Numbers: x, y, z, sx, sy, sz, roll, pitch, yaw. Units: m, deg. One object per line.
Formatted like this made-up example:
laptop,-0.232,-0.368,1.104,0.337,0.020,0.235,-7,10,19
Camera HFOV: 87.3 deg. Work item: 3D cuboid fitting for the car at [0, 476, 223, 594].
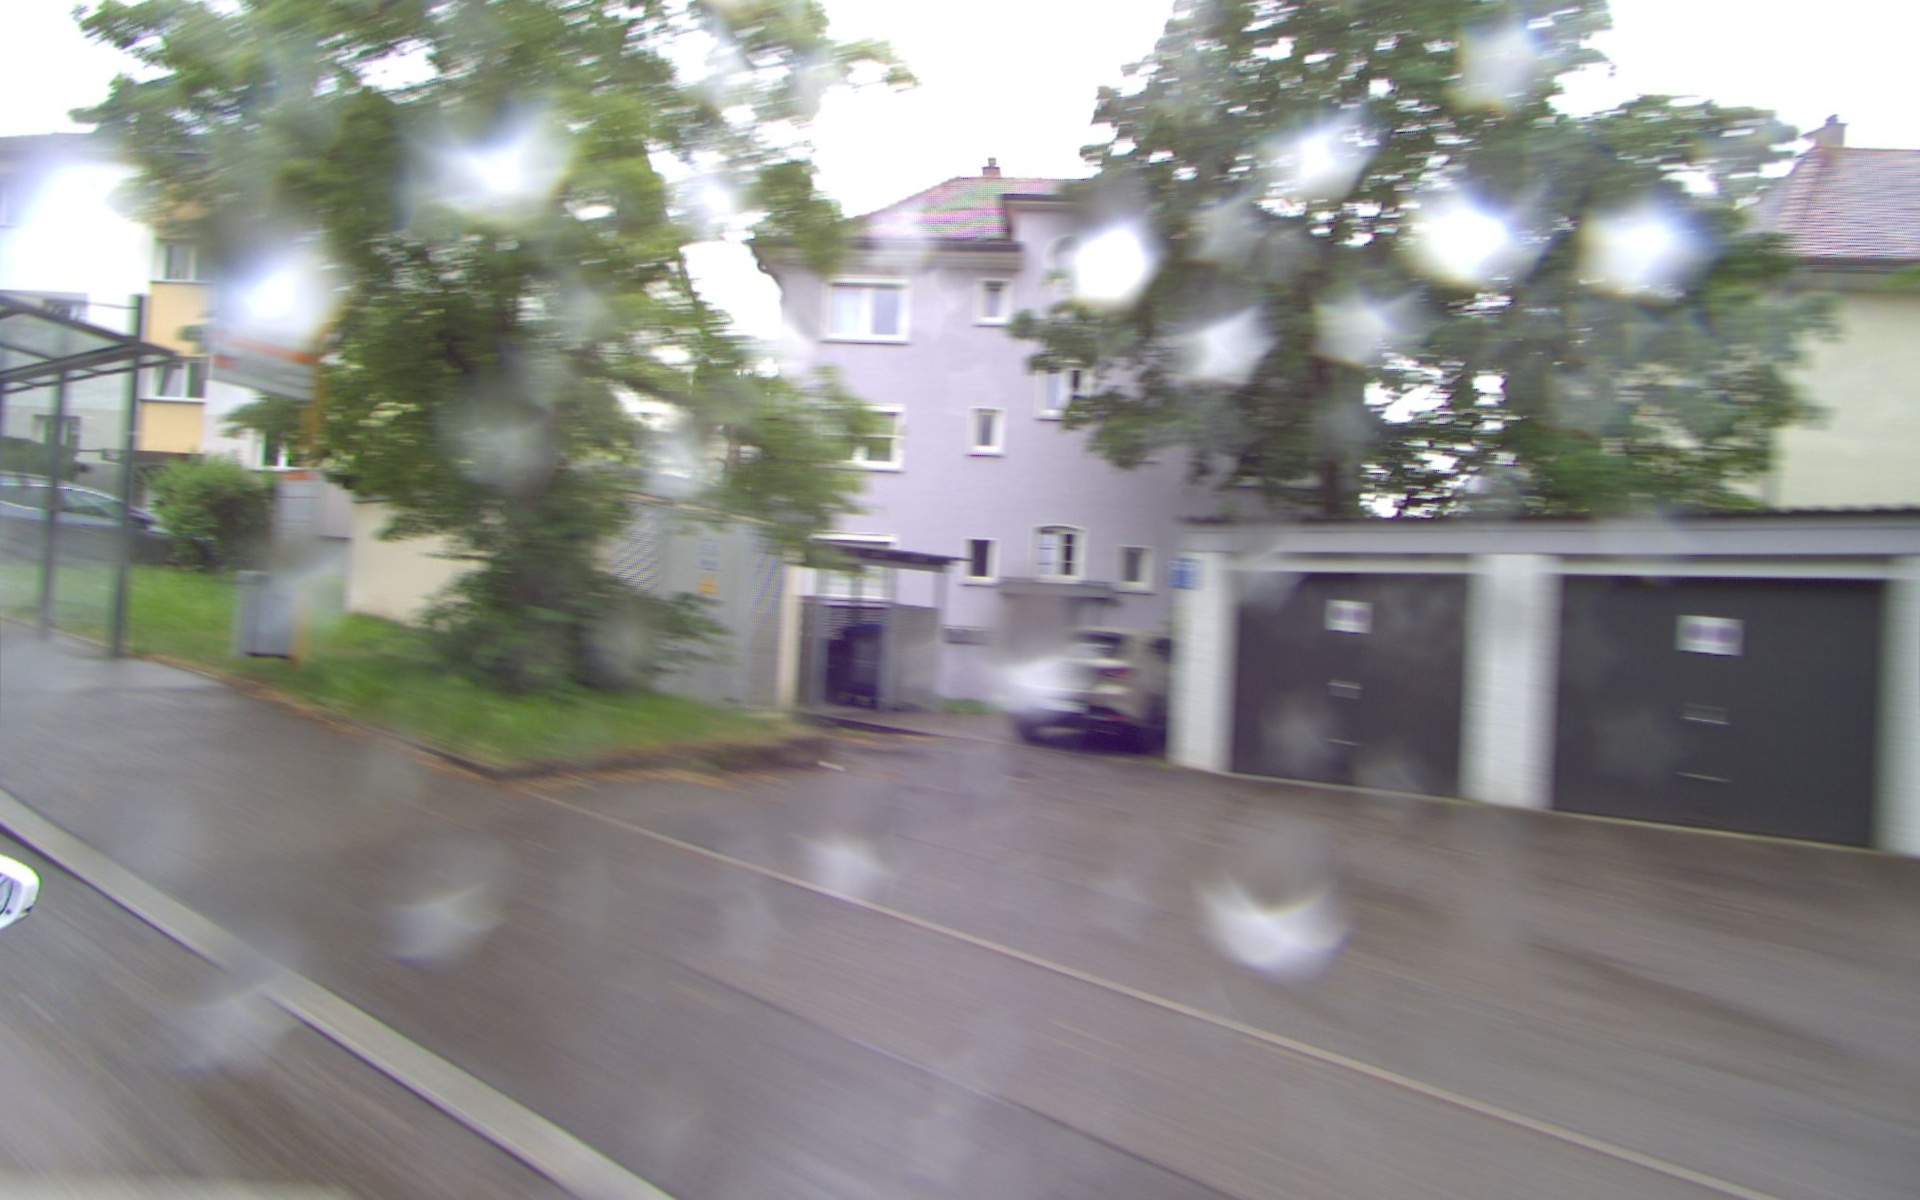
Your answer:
car,-13.690,-1.022,15.147,1.694,1.477,3.749,8,1,28

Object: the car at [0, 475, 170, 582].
car,-15.686,-1.268,16.826,1.638,1.515,3.444,8,1,29

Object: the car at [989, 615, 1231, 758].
car,2.062,1.071,12.921,1.767,1.448,3.706,3,-2,30

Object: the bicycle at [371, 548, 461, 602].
bicycle,-12.446,-0.564,23.032,1.650,1.002,0.573,8,0,5

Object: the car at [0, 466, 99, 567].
car,-18.185,-1.676,17.435,1.822,1.681,4.537,8,1,23

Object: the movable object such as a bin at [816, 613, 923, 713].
movable object such as a bin,-1.469,1.036,16.393,1.101,1.409,1.140,7,-3,33

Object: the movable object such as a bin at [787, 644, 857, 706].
movable object such as a bin,-2.327,1.269,17.010,0.718,0.910,0.795,7,-3,33
